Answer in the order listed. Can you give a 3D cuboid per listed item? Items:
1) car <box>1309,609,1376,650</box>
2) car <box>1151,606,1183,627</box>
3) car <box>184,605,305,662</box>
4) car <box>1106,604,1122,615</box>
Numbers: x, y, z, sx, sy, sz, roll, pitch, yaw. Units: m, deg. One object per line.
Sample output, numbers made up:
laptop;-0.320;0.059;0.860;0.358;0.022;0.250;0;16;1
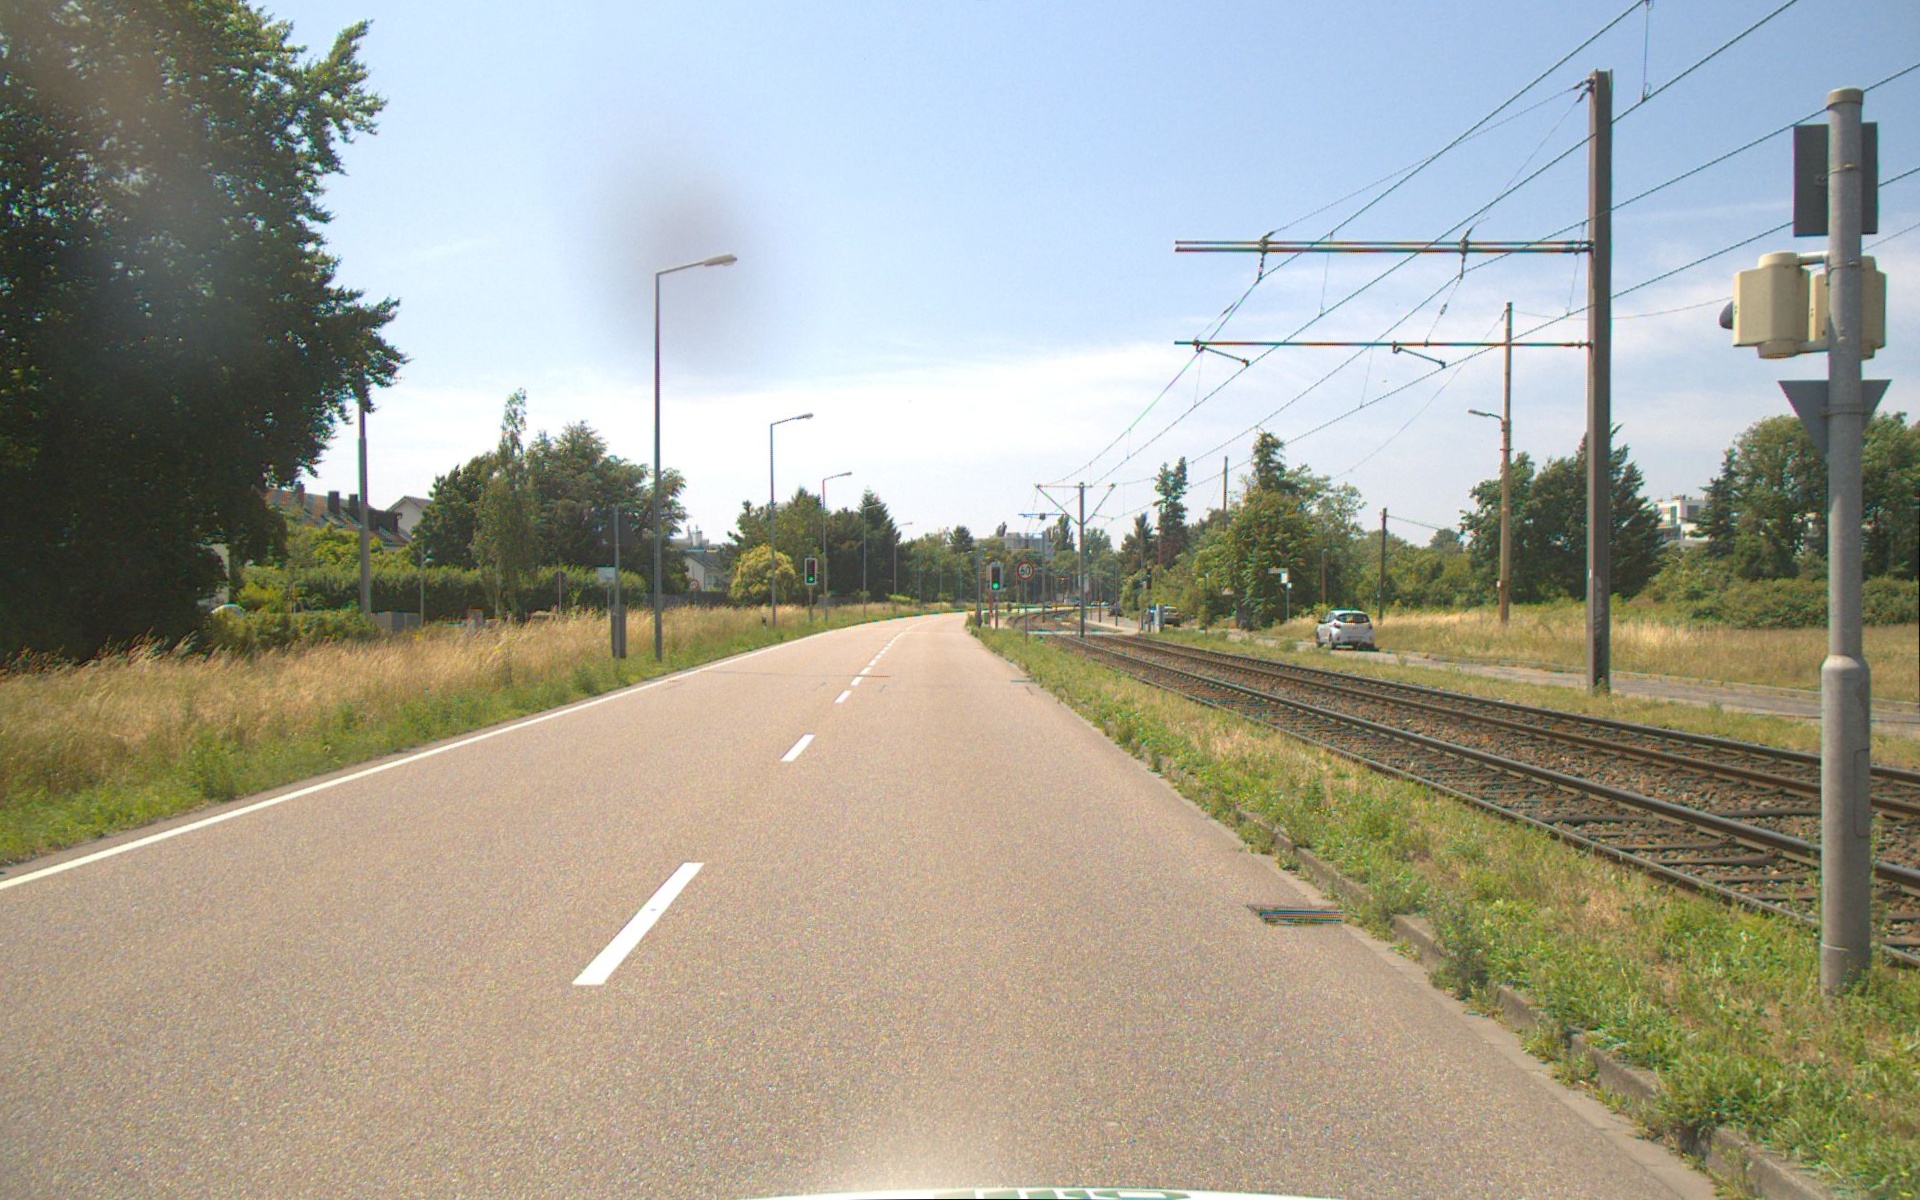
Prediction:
car;14.980;1.129;64.952;1.678;1.514;4.001;1;0;0
car;15.046;1.198;120.456;1.899;1.447;4.000;1;0;1
car;-20.389;0.922;47.308;1.672;1.517;4.185;1;0;-1
car;19.491;1.160;209.075;1.822;1.353;4.516;1;0;3
